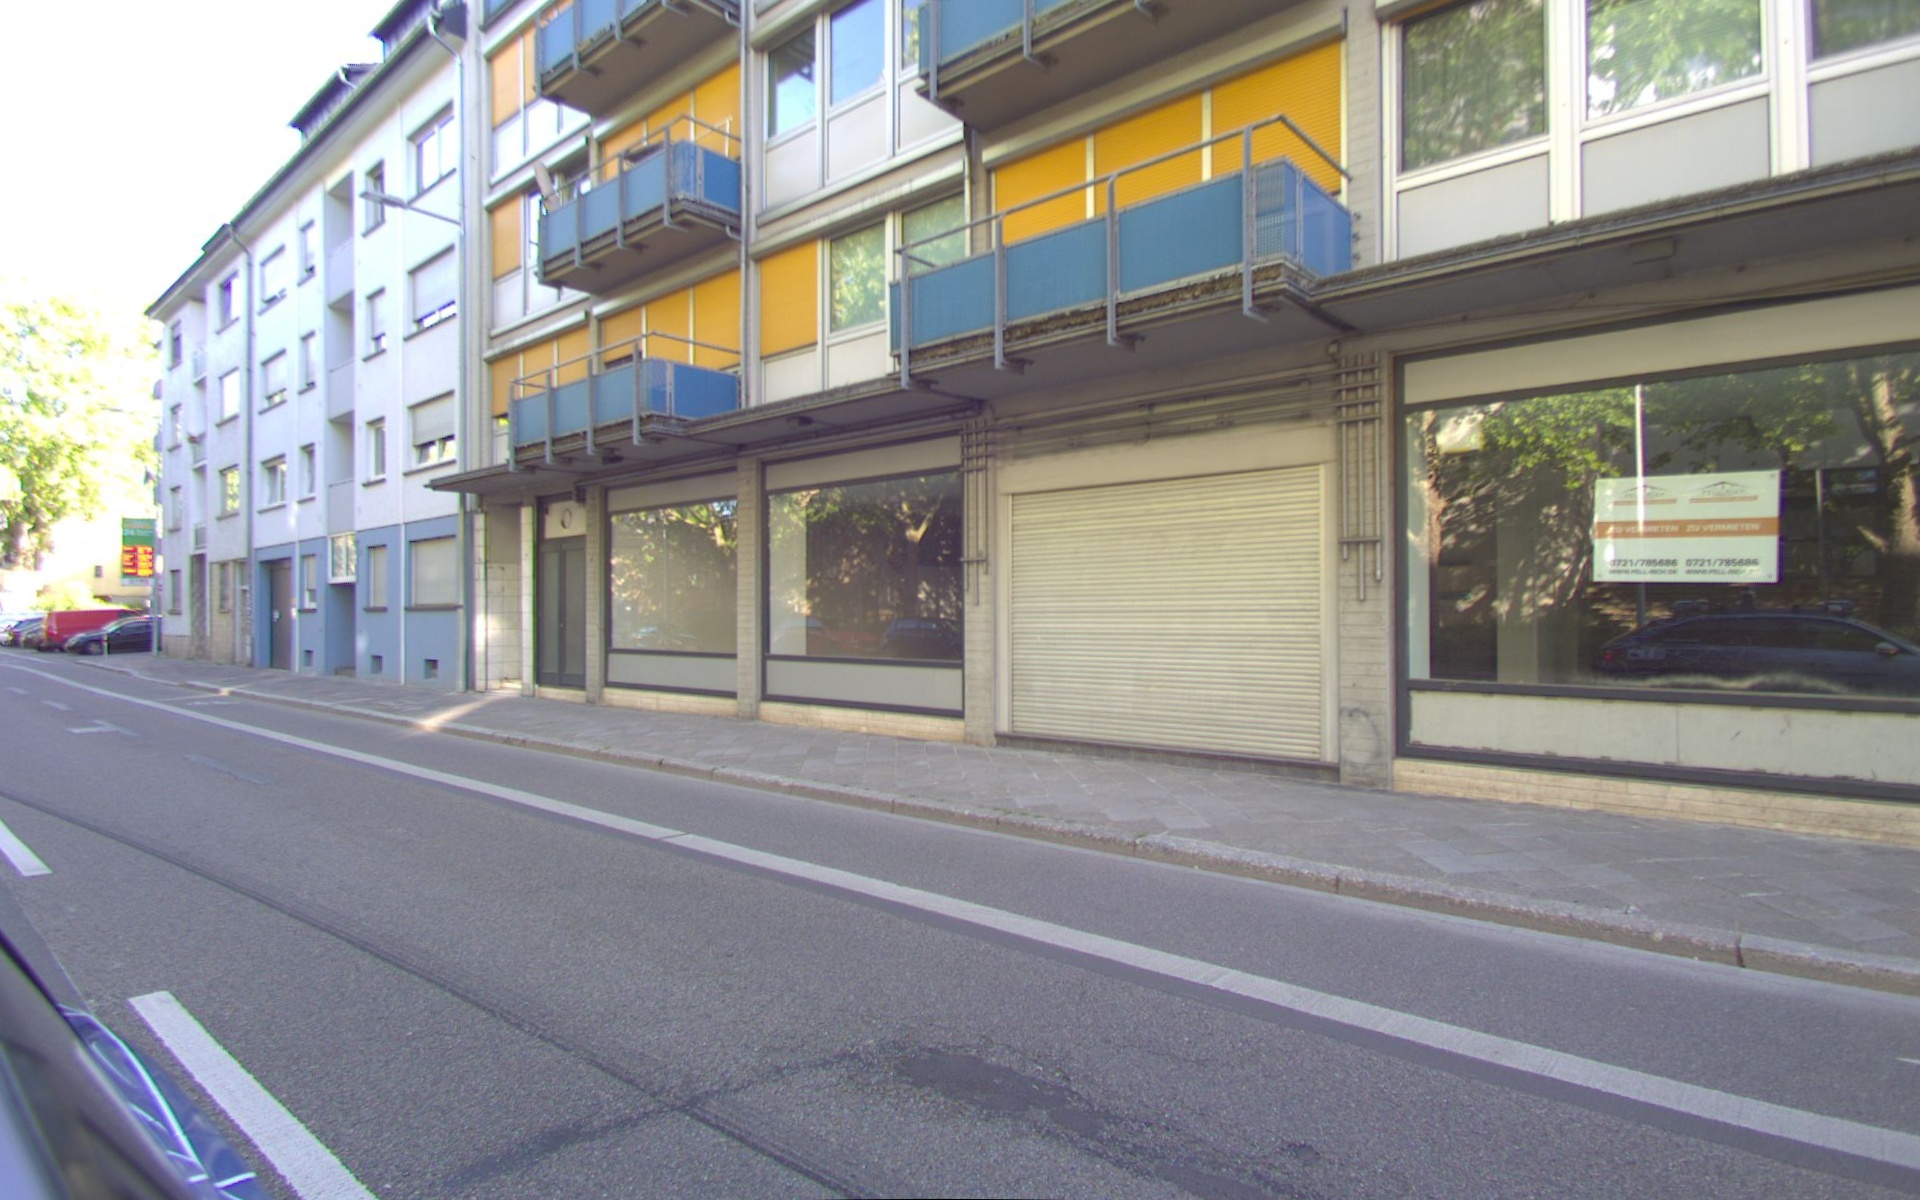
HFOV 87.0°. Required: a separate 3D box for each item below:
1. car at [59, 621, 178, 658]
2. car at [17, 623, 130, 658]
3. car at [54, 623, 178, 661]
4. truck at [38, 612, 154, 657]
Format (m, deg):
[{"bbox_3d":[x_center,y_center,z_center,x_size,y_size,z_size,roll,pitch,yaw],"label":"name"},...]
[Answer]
[{"bbox_3d":[-38.111,1.765,45.892,1.761,1.514,3.944,-1,0,42],"label":"car"},{"bbox_3d":[-42.913,1.910,49.030,1.761,1.514,3.944,-1,0,42],"label":"car"},{"bbox_3d":[-36.631,1.769,44.004,1.761,1.468,3.944,-1,0,42],"label":"car"},{"bbox_3d":[-40.503,1.577,47.483,1.761,1.951,3.944,-1,0,42],"label":"truck"}]
